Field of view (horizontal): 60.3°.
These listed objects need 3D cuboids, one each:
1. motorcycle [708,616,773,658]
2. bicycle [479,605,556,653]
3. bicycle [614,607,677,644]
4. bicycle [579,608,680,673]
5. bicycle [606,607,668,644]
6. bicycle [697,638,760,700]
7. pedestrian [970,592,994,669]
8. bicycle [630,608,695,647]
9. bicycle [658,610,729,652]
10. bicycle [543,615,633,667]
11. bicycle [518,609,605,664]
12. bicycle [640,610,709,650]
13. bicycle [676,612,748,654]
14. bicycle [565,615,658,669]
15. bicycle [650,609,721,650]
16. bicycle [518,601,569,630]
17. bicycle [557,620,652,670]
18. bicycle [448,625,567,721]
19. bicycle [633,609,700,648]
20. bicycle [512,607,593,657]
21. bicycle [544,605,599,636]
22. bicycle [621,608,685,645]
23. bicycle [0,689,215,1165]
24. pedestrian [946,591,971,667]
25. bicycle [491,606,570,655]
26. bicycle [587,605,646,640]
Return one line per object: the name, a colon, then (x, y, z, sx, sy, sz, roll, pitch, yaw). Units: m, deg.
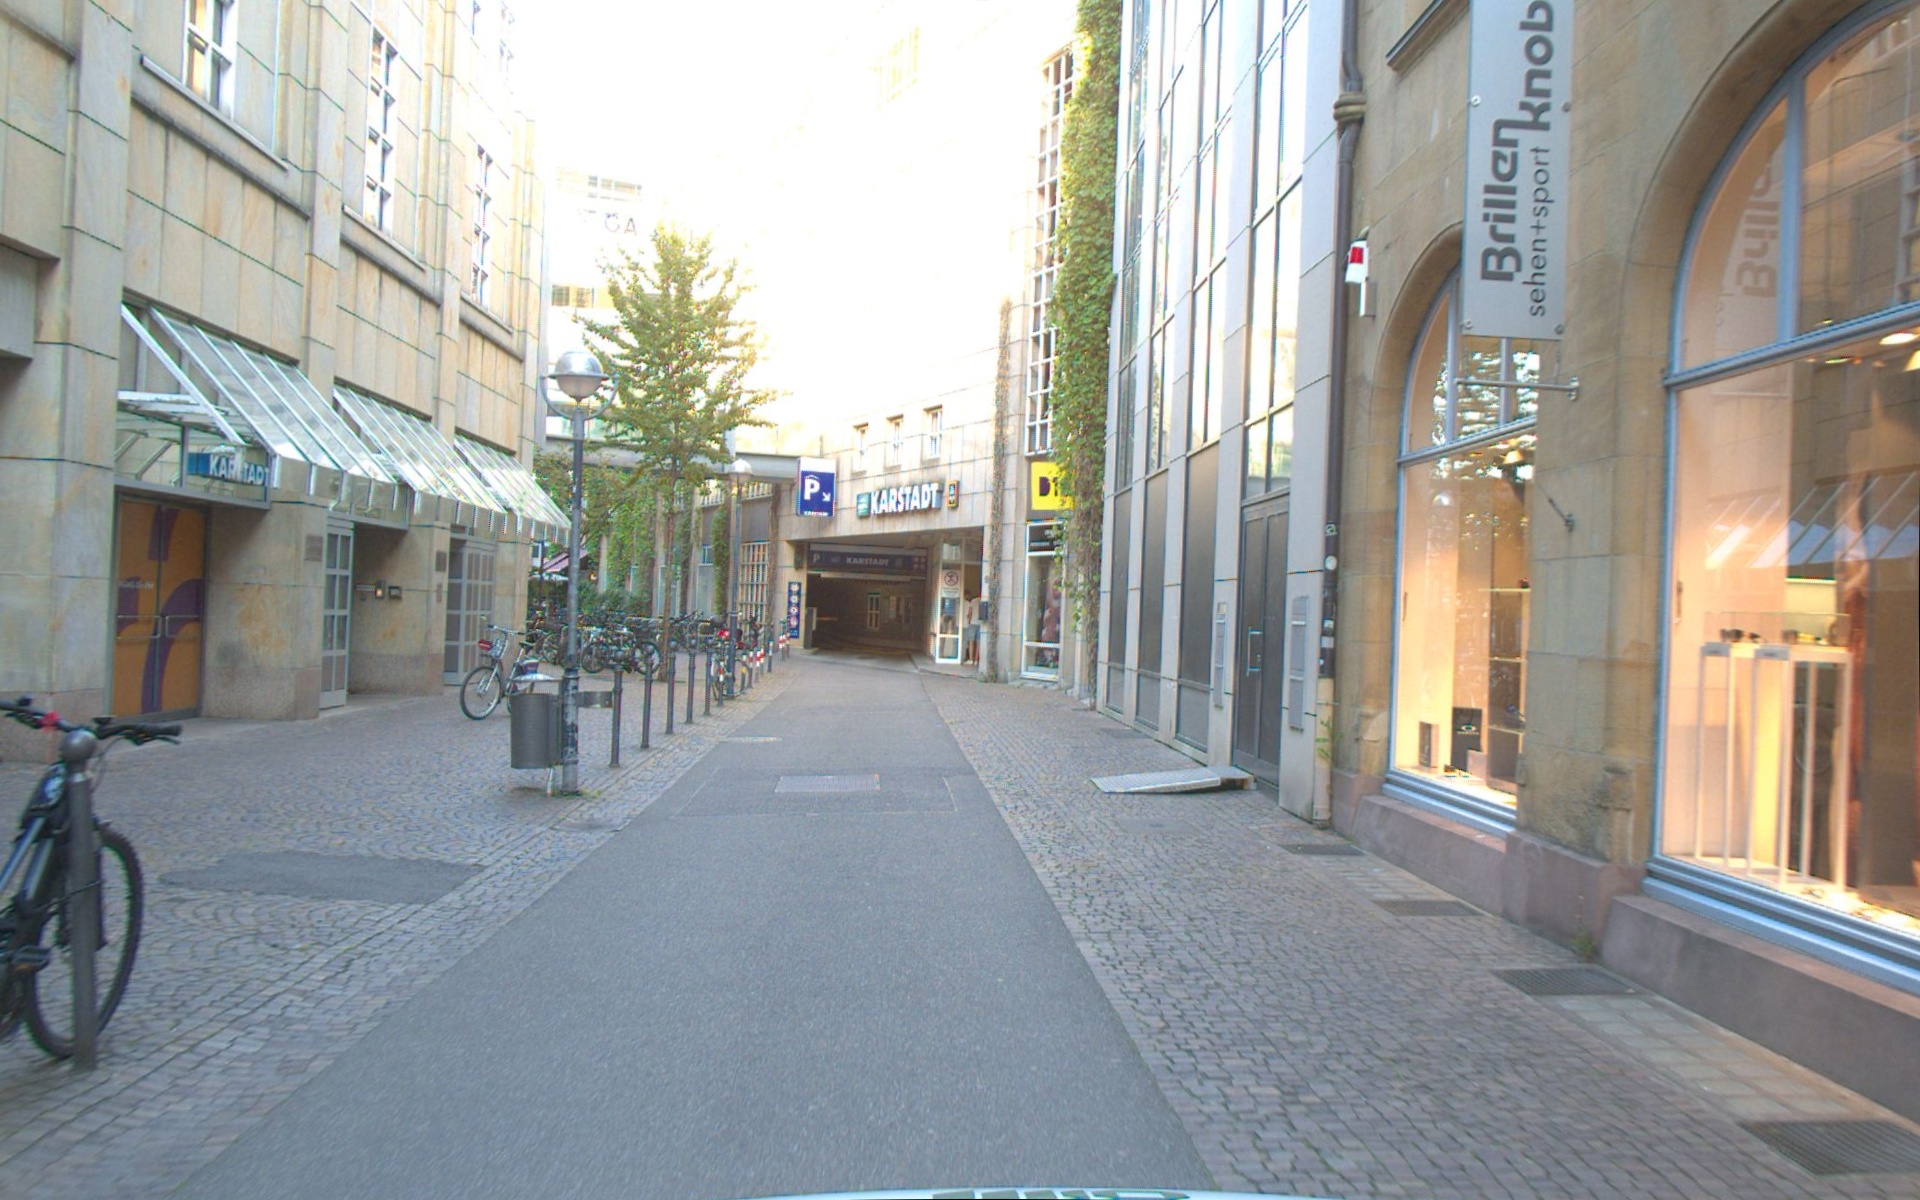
motorcycle: (-6.150, 1.029, 46.292, 1.720, 1.175, 0.591, 0, 0, -20)
bicycle: (-11.681, 0.776, 43.655, 1.885, 1.203, 0.692, 2, -1, -20)
bicycle: (-10.489, 0.833, 55.153, 1.966, 1.203, 0.689, 0, 0, -23)
bicycle: (-6.806, 0.838, 34.043, 1.887, 1.283, 0.803, 2, -1, -23)
bicycle: (-10.981, 0.858, 56.199, 1.966, 1.203, 0.689, 0, 0, -23)
bicycle: (-3.883, 1.144, 27.861, 0.494, 0.983, 1.696, 1, 0, 12)
pedestrian: (0.547, 0.751, 41.190, 0.531, 1.894, 0.408, 2, 0, 3)
bicycle: (-9.548, 0.877, 53.088, 1.966, 1.203, 0.689, 0, 0, -23)
bicycle: (-7.858, 0.897, 48.727, 1.966, 1.203, 0.691, 0, 0, -23)
bicycle: (-8.433, 0.922, 37.467, 1.885, 1.121, 0.692, 2, -1, -20)
bicycle: (-9.231, 0.844, 38.321, 1.885, 1.203, 0.692, 2, -1, -20)
bicycle: (-8.738, 0.909, 50.691, 1.966, 1.203, 0.797, 0, 0, -23)
bicycle: (-7.184, 0.942, 47.907, 1.966, 1.203, 0.691, 0, 0, -23)
bicycle: (-7.652, 0.915, 36.326, 1.887, 1.121, 0.691, 2, -1, -24)
bicycle: (-8.236, 0.885, 49.587, 1.966, 1.203, 0.797, 0, 0, -23)
bicycle: (-17.418, 0.648, 69.151, 1.966, 1.203, 0.689, 0, 0, -23)
bicycle: (-7.608, 0.959, 35.408, 1.887, 1.011, 0.691, 2, -1, -24)
bicycle: (-5.680, 0.898, 20.868, 0.679, 1.131, 1.778, 1, 0, 12)
bicycle: (-9.243, 0.882, 52.117, 1.966, 1.203, 0.797, 0, 0, -23)
bicycle: (-10.336, 0.818, 41.953, 1.885, 1.203, 0.692, 2, -1, -20)
bicycle: (-15.026, 0.785, 63.989, 1.966, 1.203, 0.689, 0, 0, -23)
bicycle: (-10.011, 0.852, 53.944, 1.966, 1.203, 0.689, 0, 0, -23)
bicycle: (-2.743, 0.893, 4.831, 0.402, 1.152, 1.928, 2, 0, -6)
pedestrian: (-0.029, 0.728, 41.424, 0.531, 1.879, 0.408, 2, 0, 3)
bicycle: (-11.072, 0.795, 42.649, 1.885, 1.203, 0.692, 2, -1, -20)
bicycle: (-12.137, 0.794, 58.492, 1.966, 1.203, 0.689, 0, 0, -23)
